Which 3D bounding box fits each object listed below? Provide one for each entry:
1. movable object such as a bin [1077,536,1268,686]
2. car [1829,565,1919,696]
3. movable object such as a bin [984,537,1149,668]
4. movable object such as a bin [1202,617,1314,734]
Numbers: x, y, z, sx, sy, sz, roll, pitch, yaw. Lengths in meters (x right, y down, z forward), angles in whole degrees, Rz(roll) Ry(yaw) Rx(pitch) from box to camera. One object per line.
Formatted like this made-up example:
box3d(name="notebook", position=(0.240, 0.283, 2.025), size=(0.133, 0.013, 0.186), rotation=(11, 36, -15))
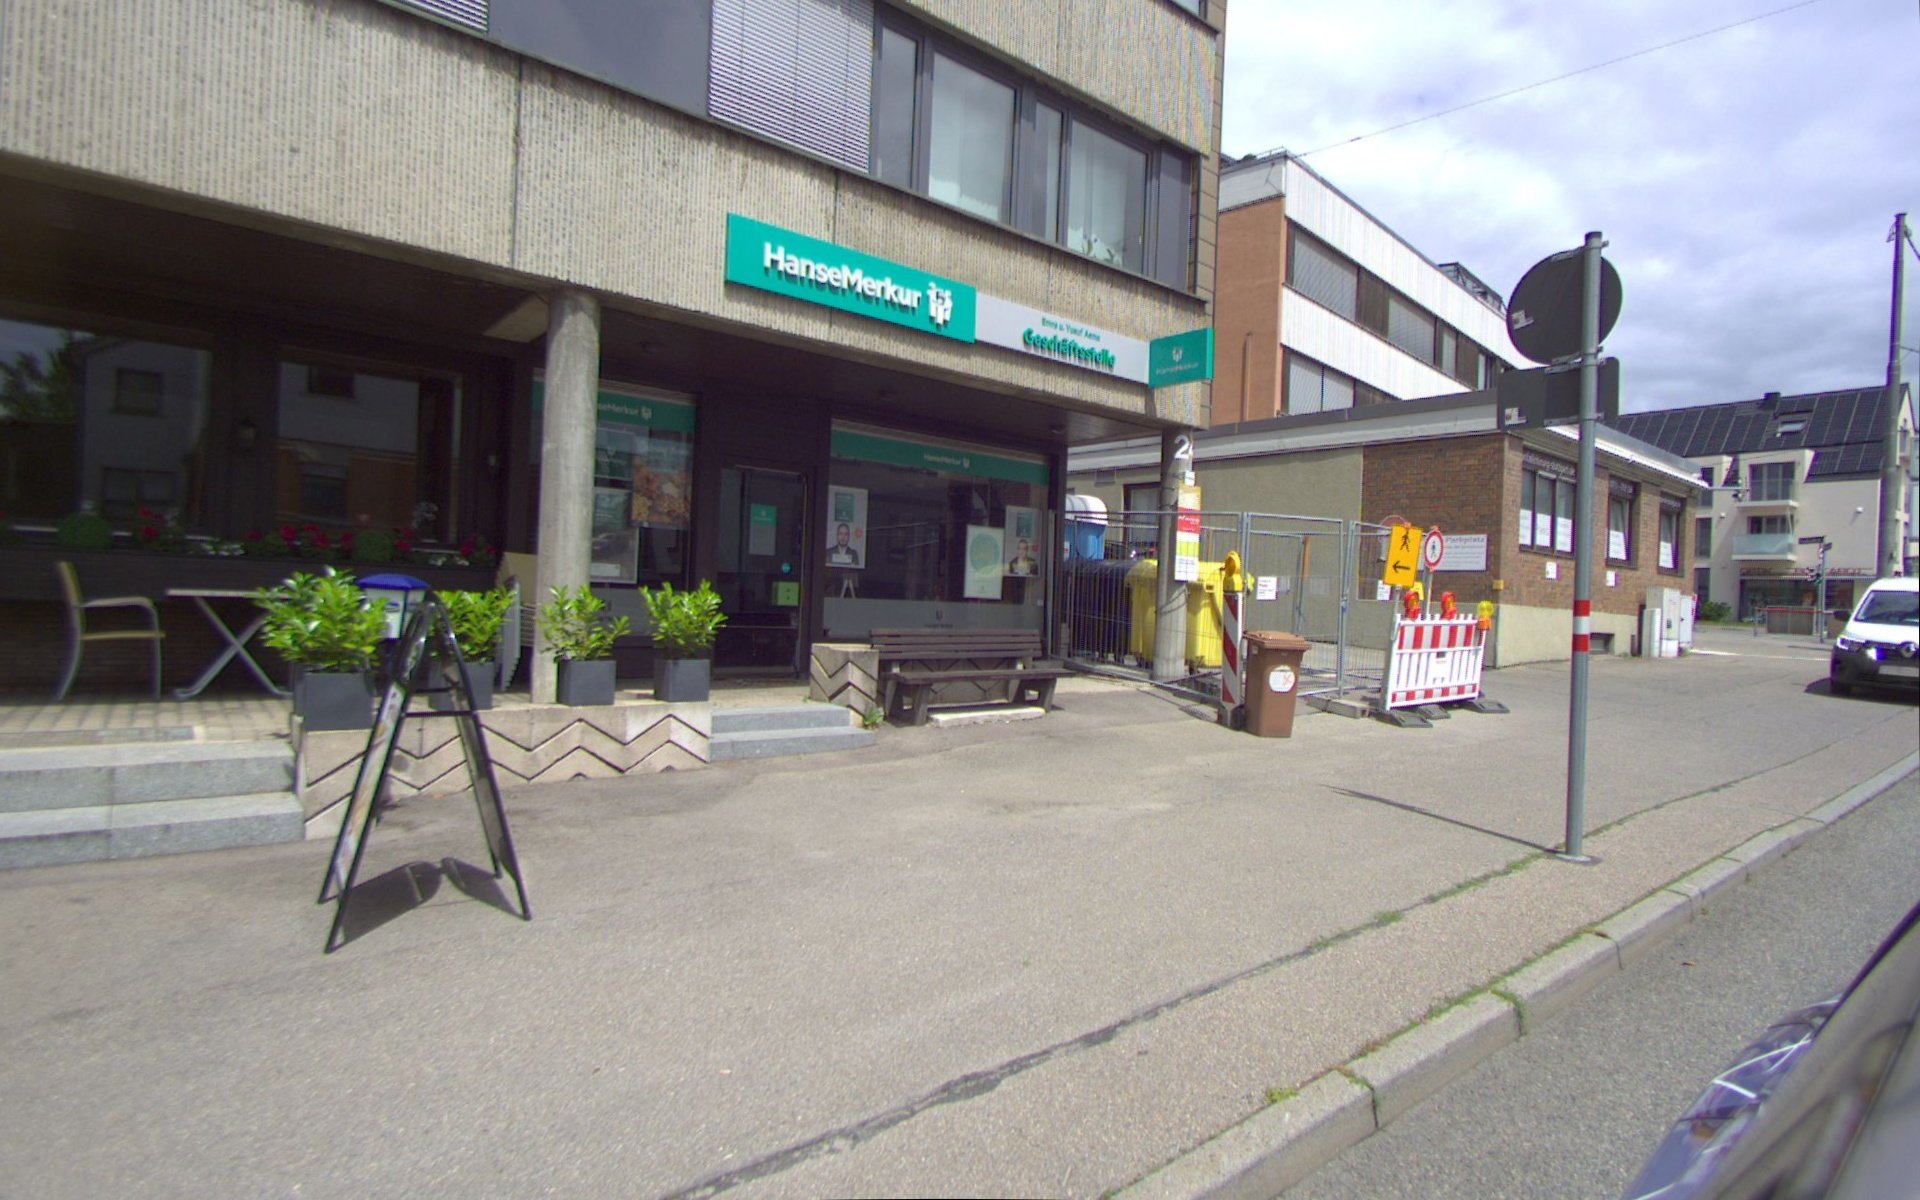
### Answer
box3d(name="movable object such as a bin", position=(2.626, 0.113, 12.662), size=(1.356, 1.705, 1.930), rotation=(0, 0, -39))
box3d(name="car", position=(14.669, 0.428, 15.159), size=(4.219, 1.749, 1.892), rotation=(0, 3, -42))
box3d(name="movable object such as a bin", position=(1.473, 0.021, 14.261), size=(1.356, 1.705, 1.930), rotation=(0, 0, -39))
box3d(name="movable object such as a bin", position=(2.710, 0.666, 9.239), size=(0.462, 0.925, 0.789), rotation=(0, 6, -40))
